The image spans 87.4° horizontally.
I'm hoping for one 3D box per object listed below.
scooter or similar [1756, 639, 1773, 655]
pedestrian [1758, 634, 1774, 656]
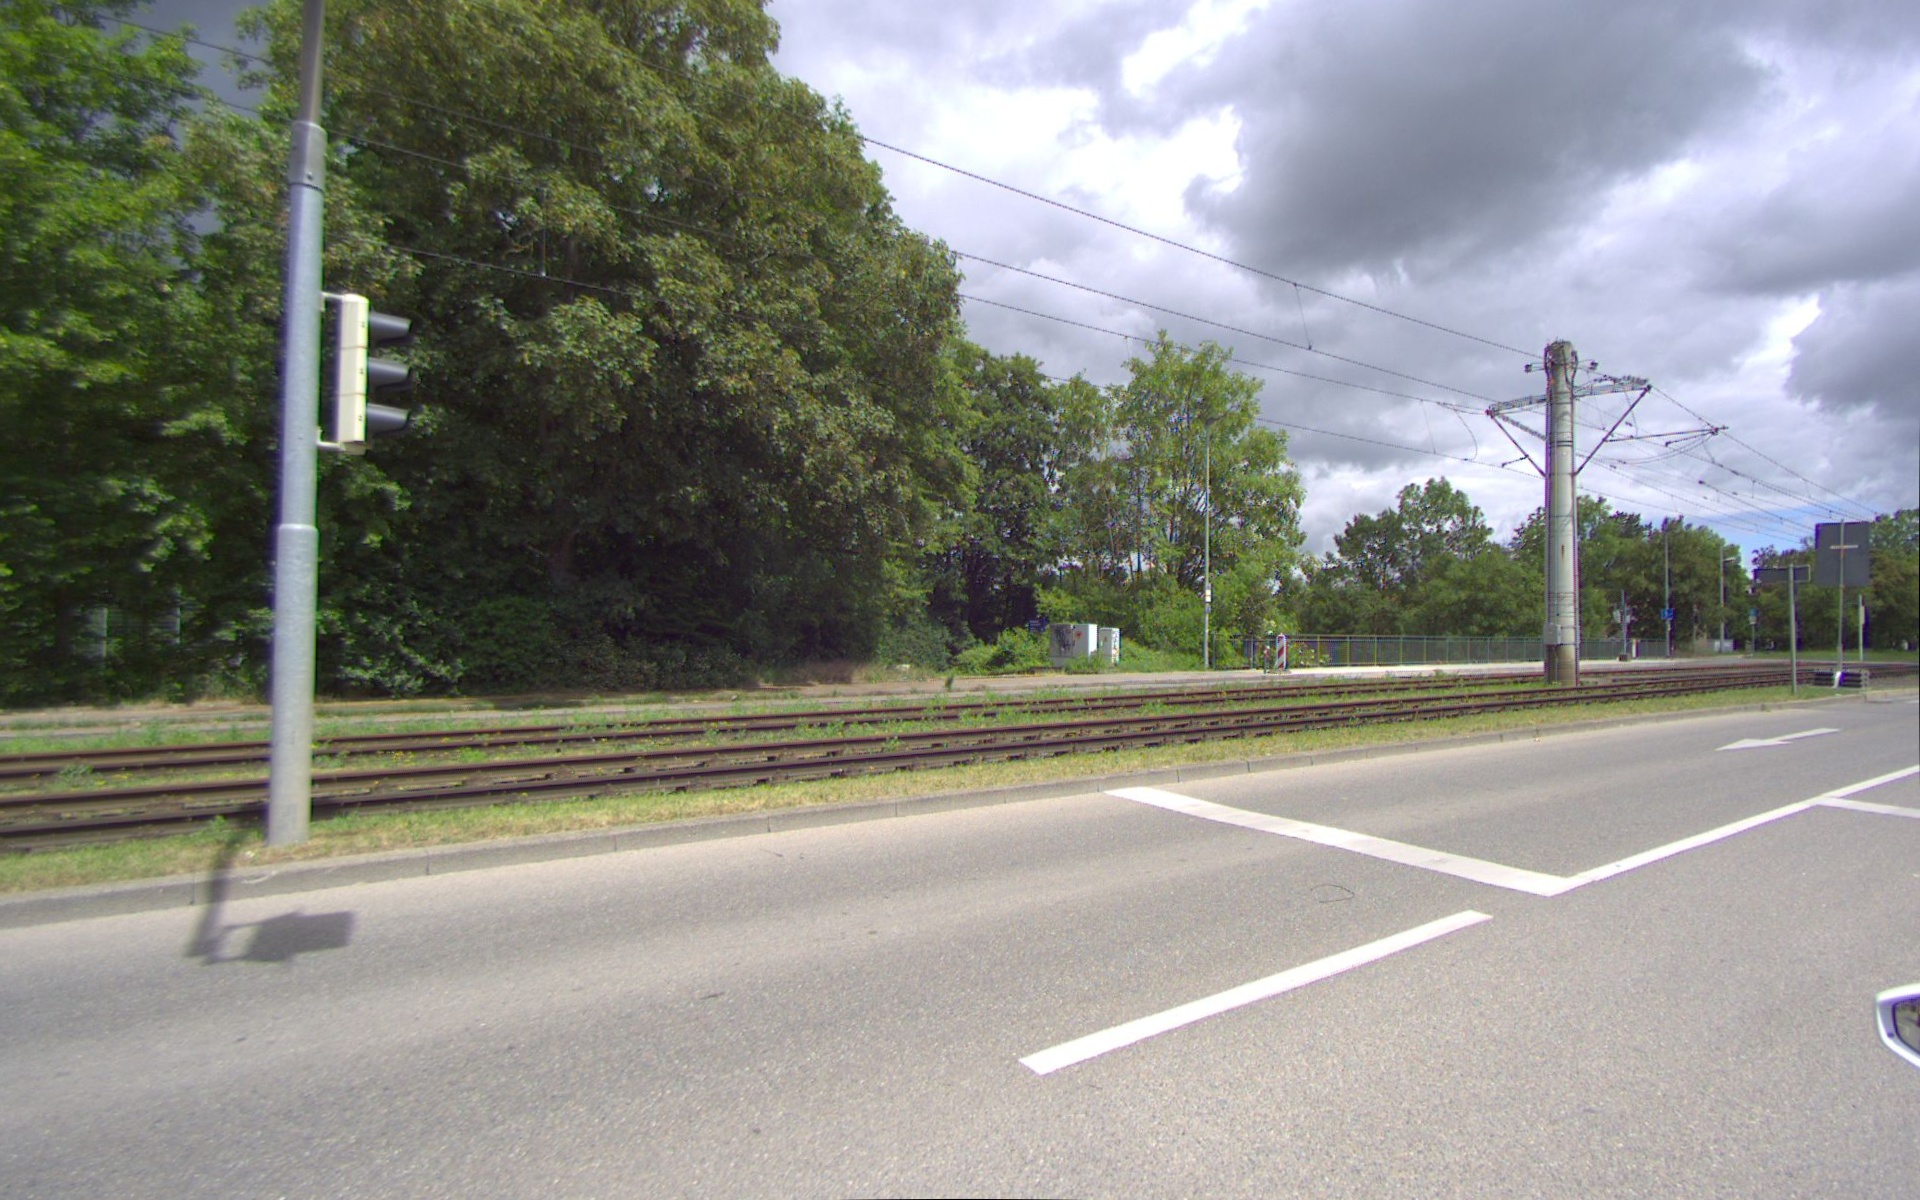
[{"bbox_3d":[66.243,3.870,82.689,0.963,1.200,0.884,2,0,-36],"label":"scooter or similar"},{"bbox_3d":[66.925,3.741,83.420,0.800,1.835,0.796,2,0,-34],"label":"pedestrian"}]
